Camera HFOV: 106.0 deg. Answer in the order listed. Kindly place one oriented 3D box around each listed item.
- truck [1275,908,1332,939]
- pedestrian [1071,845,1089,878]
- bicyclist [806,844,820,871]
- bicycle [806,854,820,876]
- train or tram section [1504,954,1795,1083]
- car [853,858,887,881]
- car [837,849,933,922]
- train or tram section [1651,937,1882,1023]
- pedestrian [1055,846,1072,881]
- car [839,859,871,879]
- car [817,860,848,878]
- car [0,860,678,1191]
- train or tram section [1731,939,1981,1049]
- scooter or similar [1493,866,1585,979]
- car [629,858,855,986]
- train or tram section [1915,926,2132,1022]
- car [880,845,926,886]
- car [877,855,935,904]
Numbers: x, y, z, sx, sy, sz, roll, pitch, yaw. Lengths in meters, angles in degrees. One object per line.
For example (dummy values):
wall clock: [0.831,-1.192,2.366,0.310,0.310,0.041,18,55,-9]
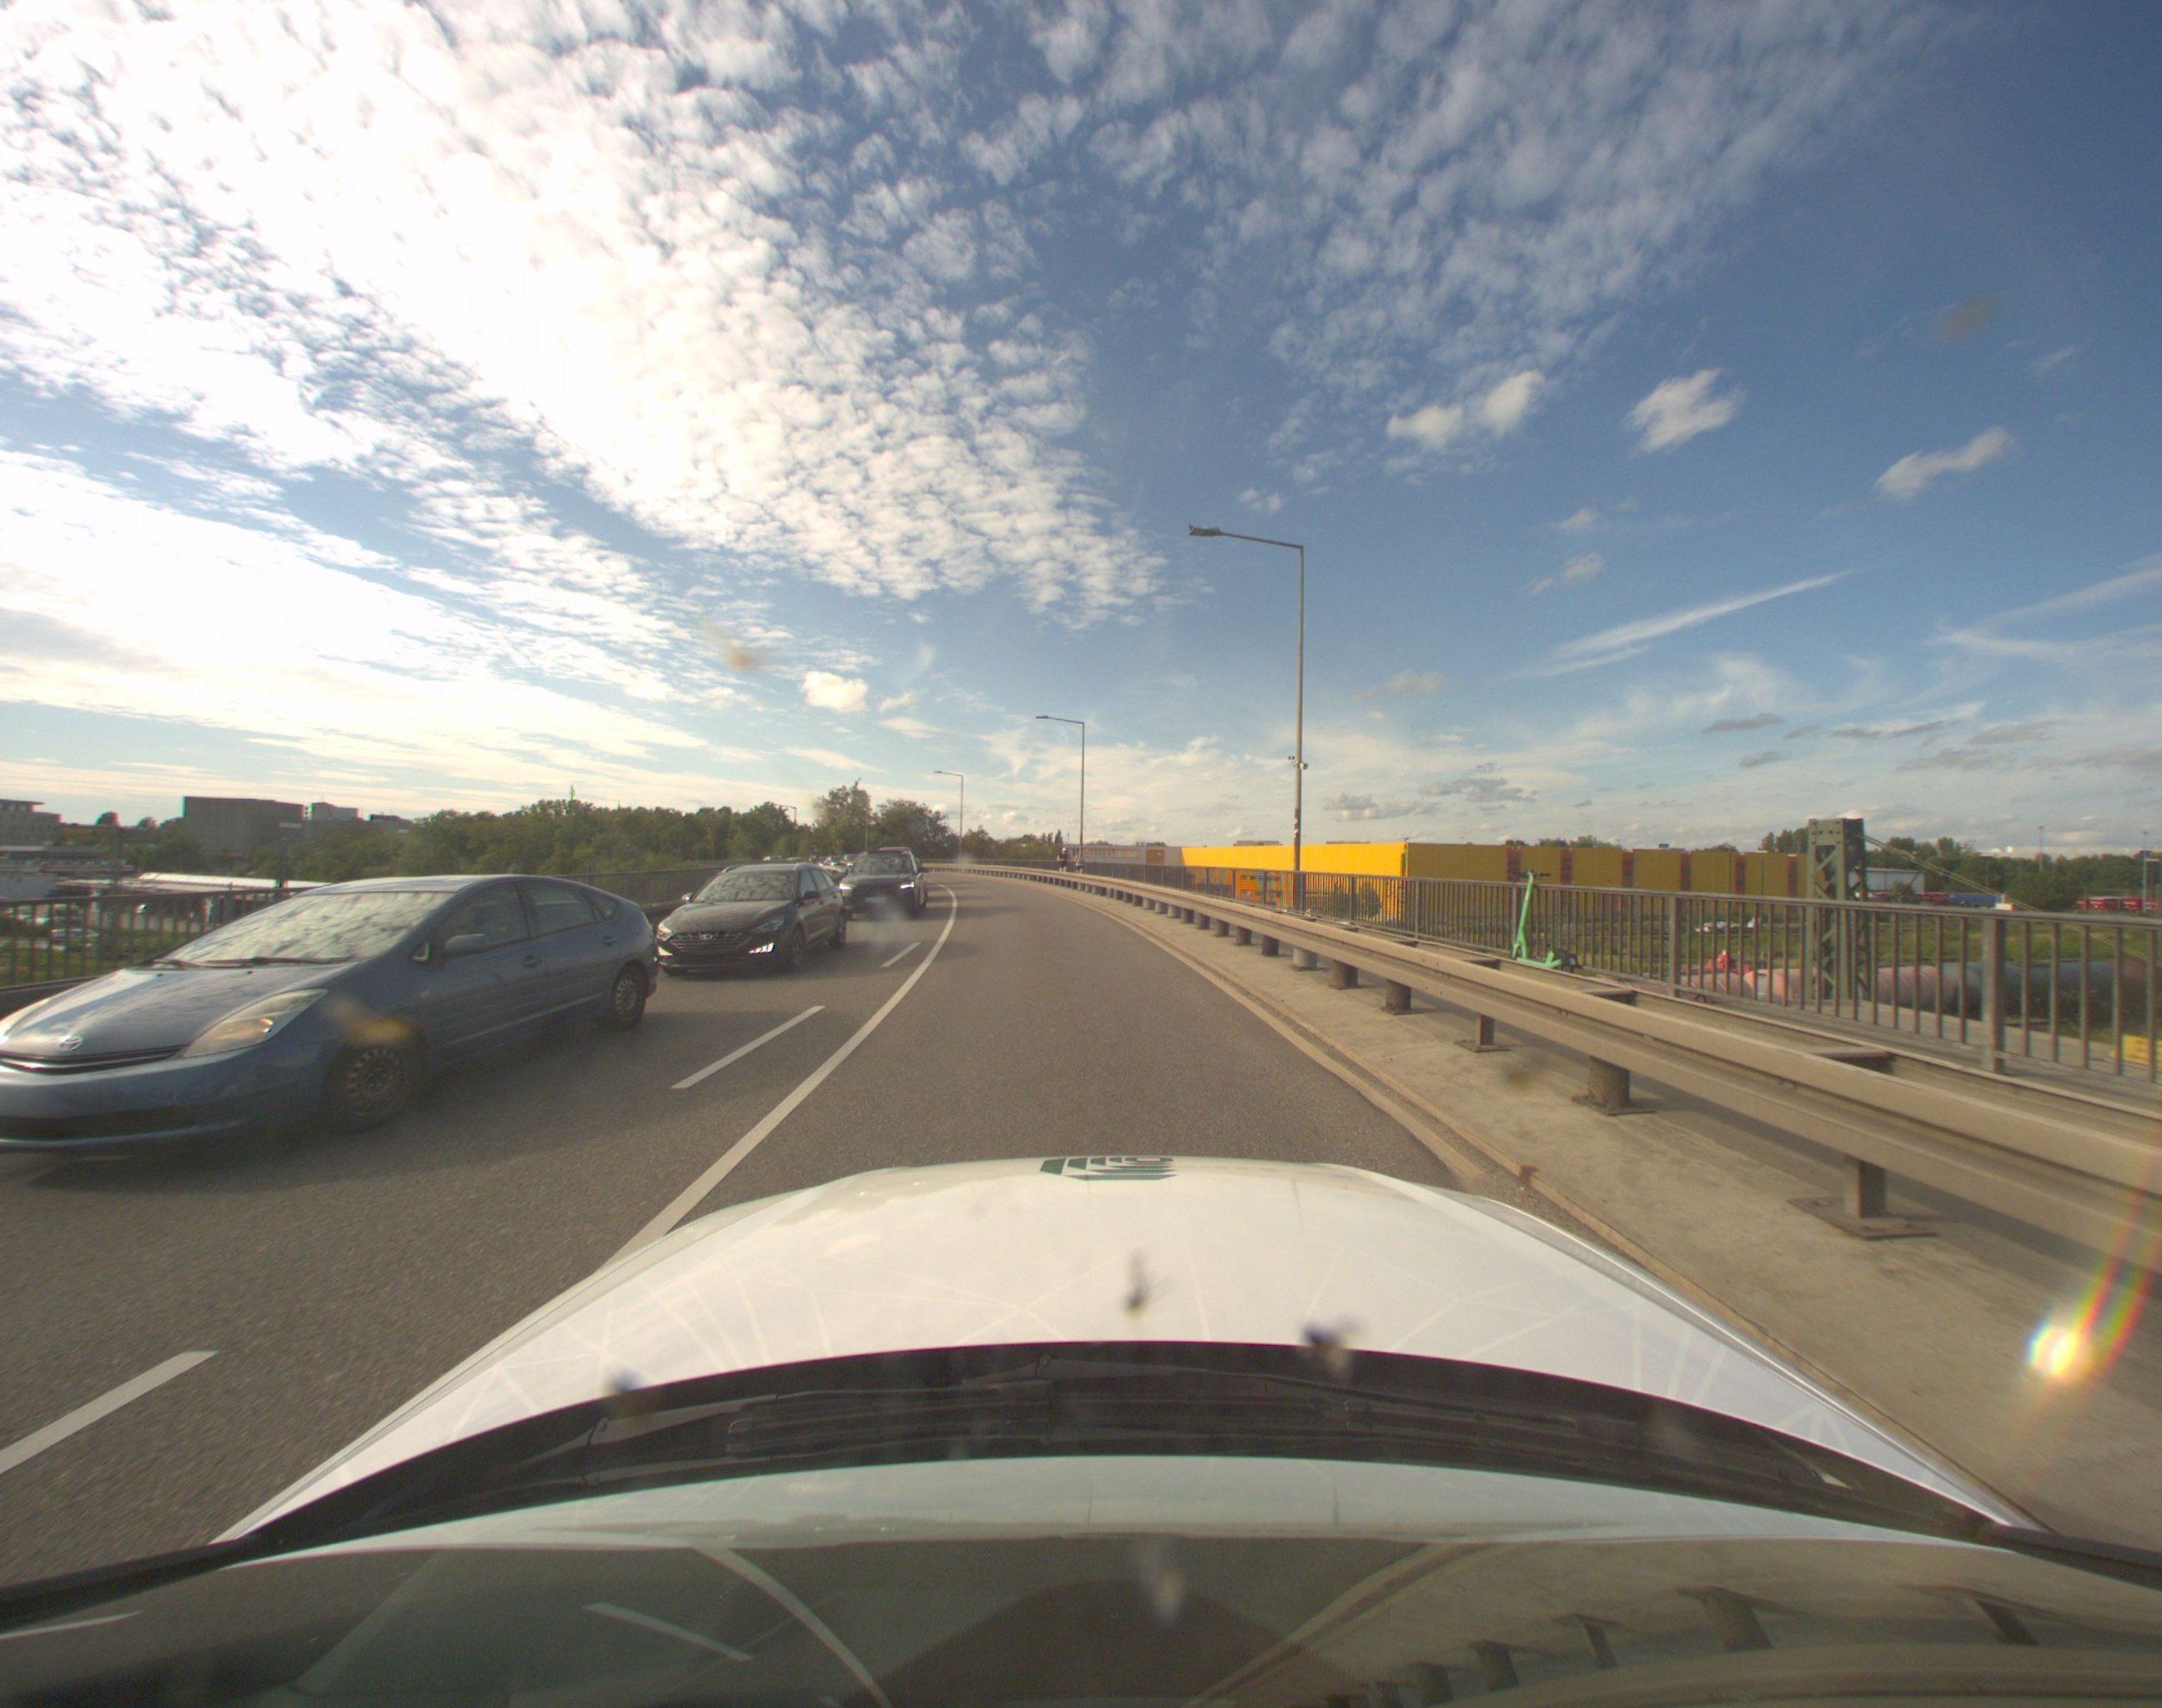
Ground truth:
truck: [30.324,9.410,111.027,7.224,3.617,2.653,-1,1,-16]
pedestrian: [-0.060,0.367,40.102,0.677,1.543,0.957,-1,0,-11]
bicyclist: [-16.993,0.224,51.670,0.768,1.660,1.113,-1,0,-18]
bicycle: [-16.966,0.684,51.632,0.766,1.331,1.905,-1,0,-17]
train or tram section: [29.856,8.243,42.471,16.743,4.712,3.077,-1,0,-19]
car: [-14.843,1.078,57.161,1.748,1.501,4.046,-2,0,-23]
car: [-5.041,0.727,21.568,1.827,1.672,4.855,-1,0,-6]
train or tram section: [46.094,8.249,54.547,17.291,4.145,3.078,-1,0,-18]
pedestrian: [-0.855,0.448,39.845,0.677,1.661,0.862,-1,0,-11]
car: [-18.055,1.168,64.926,1.749,1.501,4.043,-2,0,-26]
car: [-21.997,1.273,72.072,1.751,1.501,4.038,-2,0,-30]
car: [-4.969,0.843,6.086,1.755,1.489,4.389,-1,0,-1]
train or tram section: [45.710,7.944,47.825,16.741,4.712,3.078,-1,0,-18]
scooter or similar: [5.096,0.728,9.125,0.265,1.162,1.187,-1,0,-4]
car: [-4.829,0.856,12.372,1.756,1.489,4.440,-1,0,-3]
train or tram section: [61.642,7.606,53.141,16.741,4.712,3.078,-1,0,-18]
car: [-9.170,0.553,41.704,2.011,1.903,4.841,-2,0,-16]
car: [-6.024,0.820,28.352,1.741,1.501,4.063,-2,0,-10]
